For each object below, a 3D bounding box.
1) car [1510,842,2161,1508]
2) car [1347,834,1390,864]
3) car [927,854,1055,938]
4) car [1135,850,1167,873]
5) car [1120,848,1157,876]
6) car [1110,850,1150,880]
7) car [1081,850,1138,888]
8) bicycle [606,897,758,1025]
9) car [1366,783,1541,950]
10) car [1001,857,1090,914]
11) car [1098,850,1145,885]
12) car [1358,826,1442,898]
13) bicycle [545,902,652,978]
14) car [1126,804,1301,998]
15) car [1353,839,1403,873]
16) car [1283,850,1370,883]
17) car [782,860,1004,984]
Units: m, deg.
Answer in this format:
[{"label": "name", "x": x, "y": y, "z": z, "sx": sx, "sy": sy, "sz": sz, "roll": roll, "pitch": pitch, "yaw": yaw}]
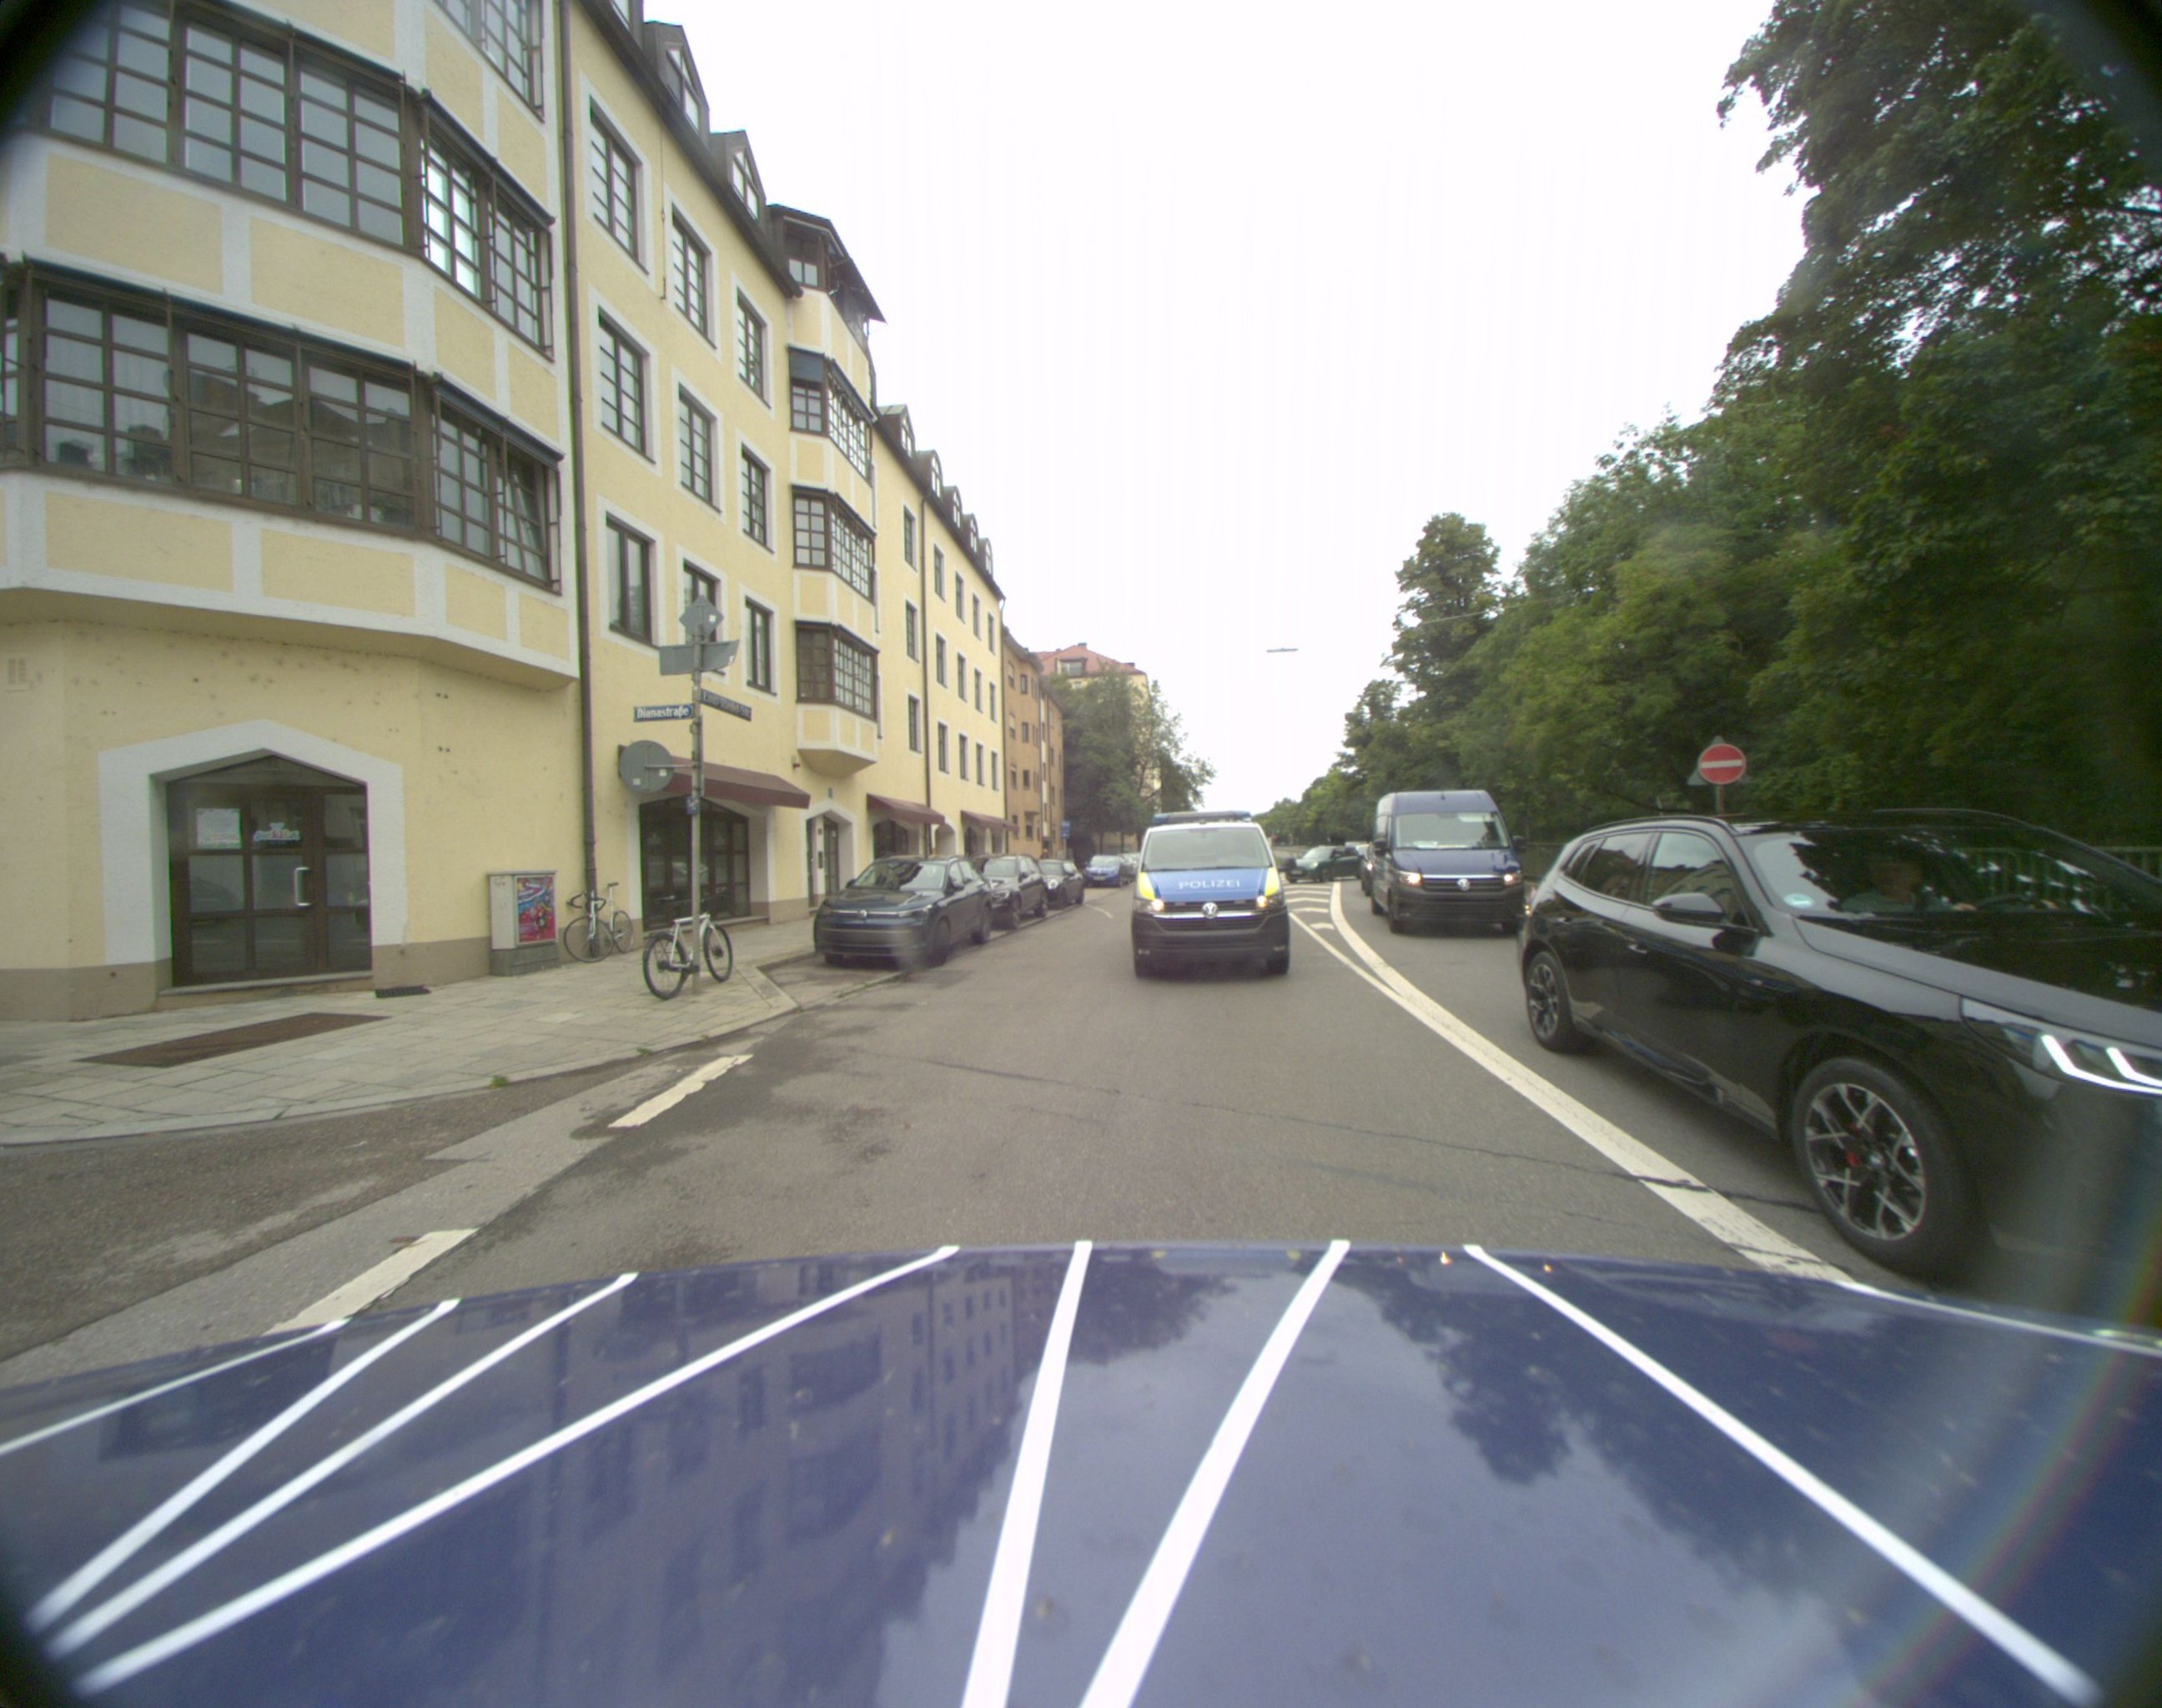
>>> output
[{"label": "car", "x": 3.880, "y": 0.747, "z": 3.572, "sx": 1.920, "sy": 1.557, "sz": 4.296, "roll": -1, "pitch": 1, "yaw": 10}, {"label": "car", "x": 18.368, "y": -0.355, "z": 48.710, "sx": 2.313, "sy": 1.719, "sz": 5.221, "roll": -3, "pitch": 0, "yaw": 19}, {"label": "car", "x": -1.959, "y": 0.870, "z": 17.877, "sx": 1.816, "sy": 1.580, "sz": 4.166, "roll": 3, "pitch": 2, "yaw": 10}, {"label": "car", "x": 5.170, "y": 0.535, "z": 55.524, "sx": 1.882, "sy": 1.474, "sz": 4.303, "roll": -3, "pitch": 0, "yaw": 11}, {"label": "car", "x": 3.850, "y": 0.490, "z": 50.263, "sx": 1.882, "sy": 1.642, "sz": 4.303, "roll": -3, "pitch": 0, "yaw": 11}, {"label": "car", "x": 2.985, "y": 0.610, "z": 45.598, "sx": 1.882, "sy": 1.642, "sz": 4.588, "roll": -3, "pitch": 0, "yaw": 9}, {"label": "car", "x": 1.438, "y": 0.629, "z": 35.585, "sx": 1.881, "sy": 1.642, "sz": 5.621, "roll": 0, "pitch": 1, "yaw": 11}, {"label": "bicycle", "x": -4.526, "y": 1.155, "z": 8.804, "sx": 0.430, "sy": 1.152, "sz": 2.054, "roll": 0, "pitch": 1, "yaw": 7}, {"label": "car", "x": 6.746, "y": 0.133, "z": 14.523, "sx": 2.003, "sy": 2.477, "sz": 6.239, "roll": -2, "pitch": 1, "yaw": 17}, {"label": "car", "x": -0.966, "y": 0.868, "z": 22.911, "sx": 1.763, "sy": 1.514, "sz": 3.935, "roll": 0, "pitch": 1, "yaw": 11}, {"label": "car", "x": 2.234, "y": 0.670, "z": 40.781, "sx": 1.882, "sy": 1.642, "sz": 4.620, "roll": -3, "pitch": 0, "yaw": 10}, {"label": "car", "x": 9.939, "y": 0.202, "z": 24.090, "sx": 2.004, "sy": 1.925, "sz": 5.812, "roll": -3, "pitch": 0, "yaw": 19}, {"label": "bicycle", "x": -7.054, "y": 1.224, "z": 11.207, "sx": 0.262, "sy": 0.897, "sz": 1.696, "roll": 3, "pitch": 2, "yaw": 8}, {"label": "car", "x": 1.850, "y": 0.521, "z": 11.123, "sx": 1.825, "sy": 2.086, "sz": 5.636, "roll": -2, "pitch": 0, "yaw": 8}, {"label": "car", "x": 15.471, "y": 0.050, "z": 39.812, "sx": 2.101, "sy": 1.581, "sz": 5.575, "roll": -3, "pitch": 0, "yaw": 19}, {"label": "car", "x": 10.148, "y": 0.486, "z": 31.337, "sx": 3.617, "sy": 1.207, "sz": 1.493, "roll": -2, "pitch": 1, "yaw": -34}, {"label": "car", "x": -2.839, "y": 0.961, "z": 12.700, "sx": 2.110, "sy": 1.613, "sz": 4.498, "roll": -1, "pitch": 0, "yaw": 7}]
